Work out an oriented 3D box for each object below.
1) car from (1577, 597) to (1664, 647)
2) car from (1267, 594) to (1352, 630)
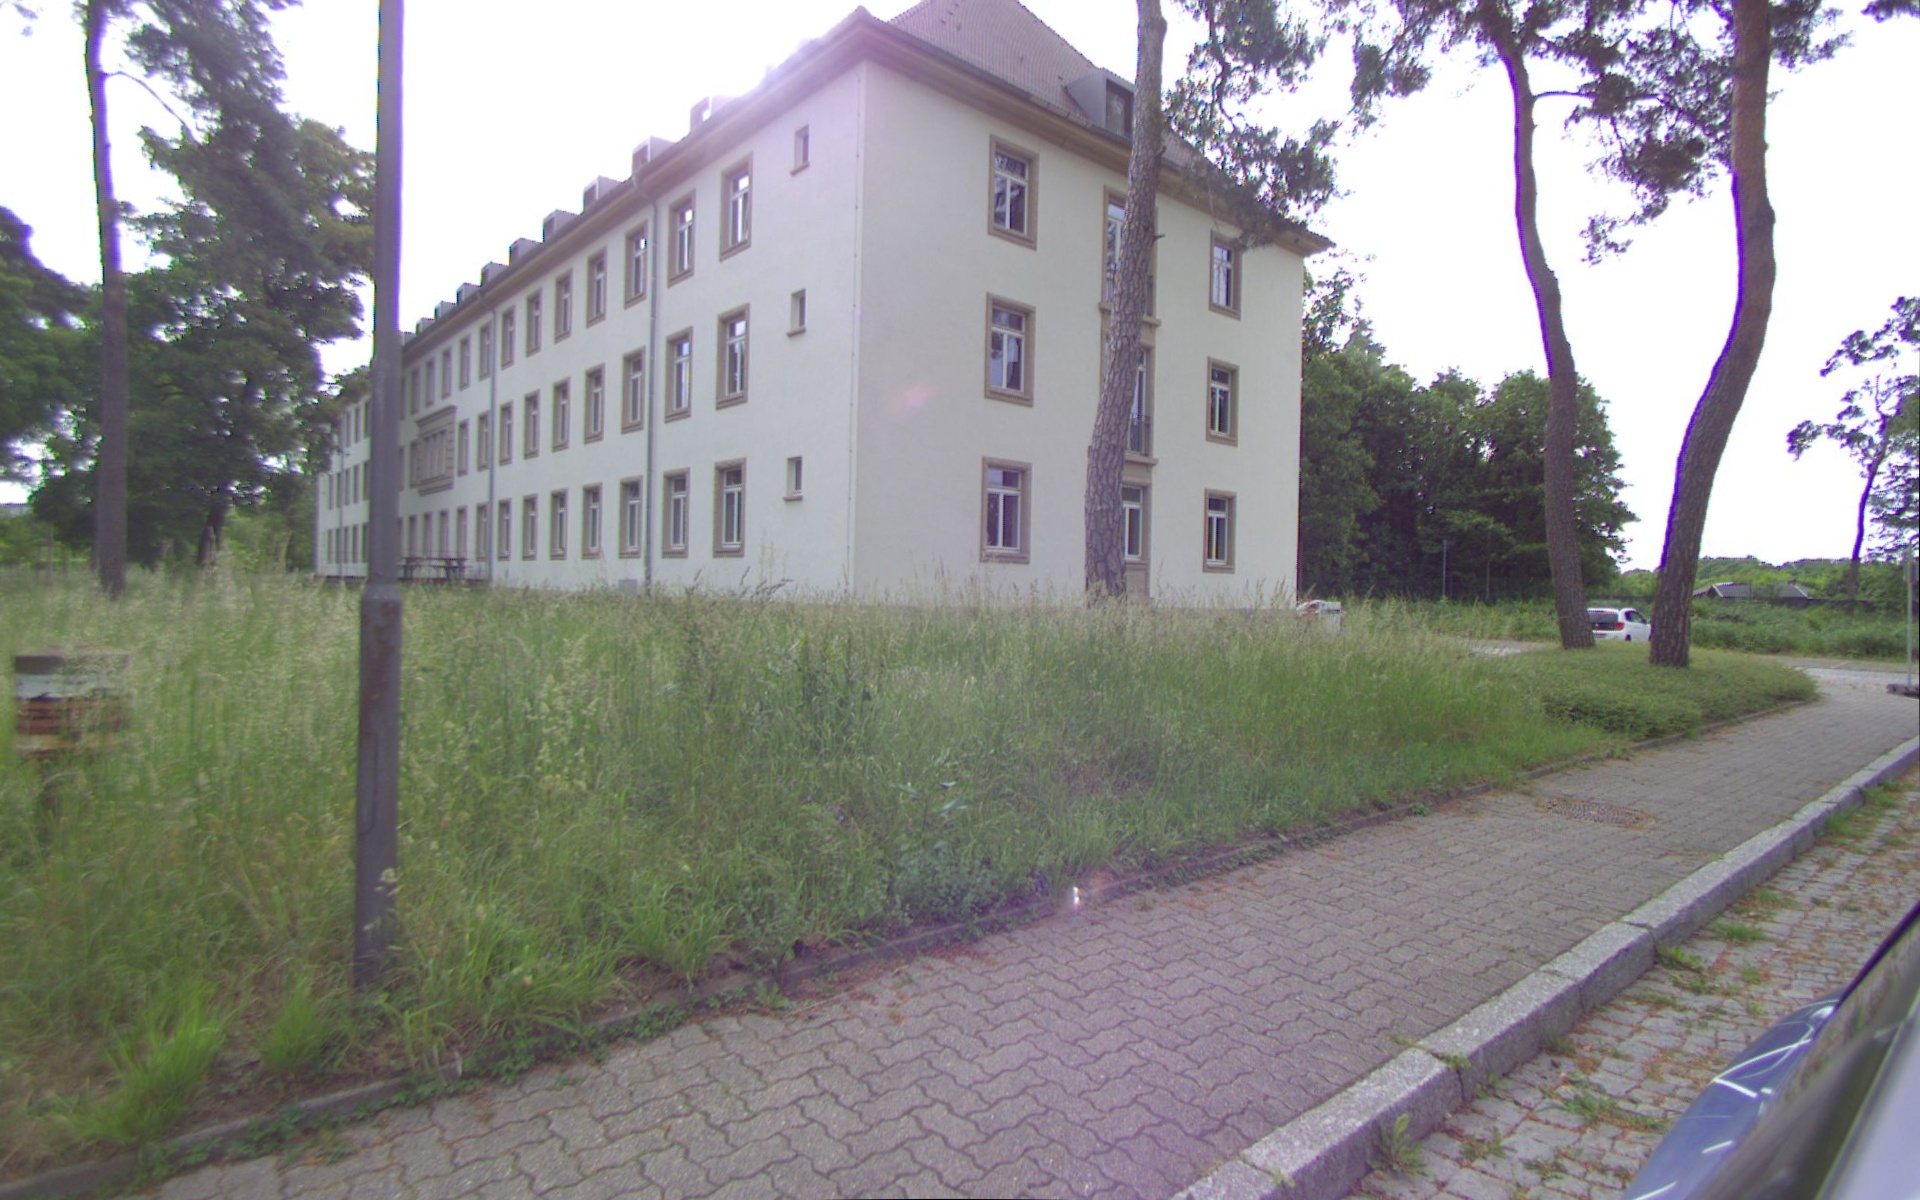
[{"bbox_3d":[22.139,0.708,33.896,3.221,1.451,1.640,-2,3,-41],"label":"car"},{"bbox_3d":[14.636,0.464,42.338,3.931,1.345,1.640,-2,2,-41],"label":"car"}]
